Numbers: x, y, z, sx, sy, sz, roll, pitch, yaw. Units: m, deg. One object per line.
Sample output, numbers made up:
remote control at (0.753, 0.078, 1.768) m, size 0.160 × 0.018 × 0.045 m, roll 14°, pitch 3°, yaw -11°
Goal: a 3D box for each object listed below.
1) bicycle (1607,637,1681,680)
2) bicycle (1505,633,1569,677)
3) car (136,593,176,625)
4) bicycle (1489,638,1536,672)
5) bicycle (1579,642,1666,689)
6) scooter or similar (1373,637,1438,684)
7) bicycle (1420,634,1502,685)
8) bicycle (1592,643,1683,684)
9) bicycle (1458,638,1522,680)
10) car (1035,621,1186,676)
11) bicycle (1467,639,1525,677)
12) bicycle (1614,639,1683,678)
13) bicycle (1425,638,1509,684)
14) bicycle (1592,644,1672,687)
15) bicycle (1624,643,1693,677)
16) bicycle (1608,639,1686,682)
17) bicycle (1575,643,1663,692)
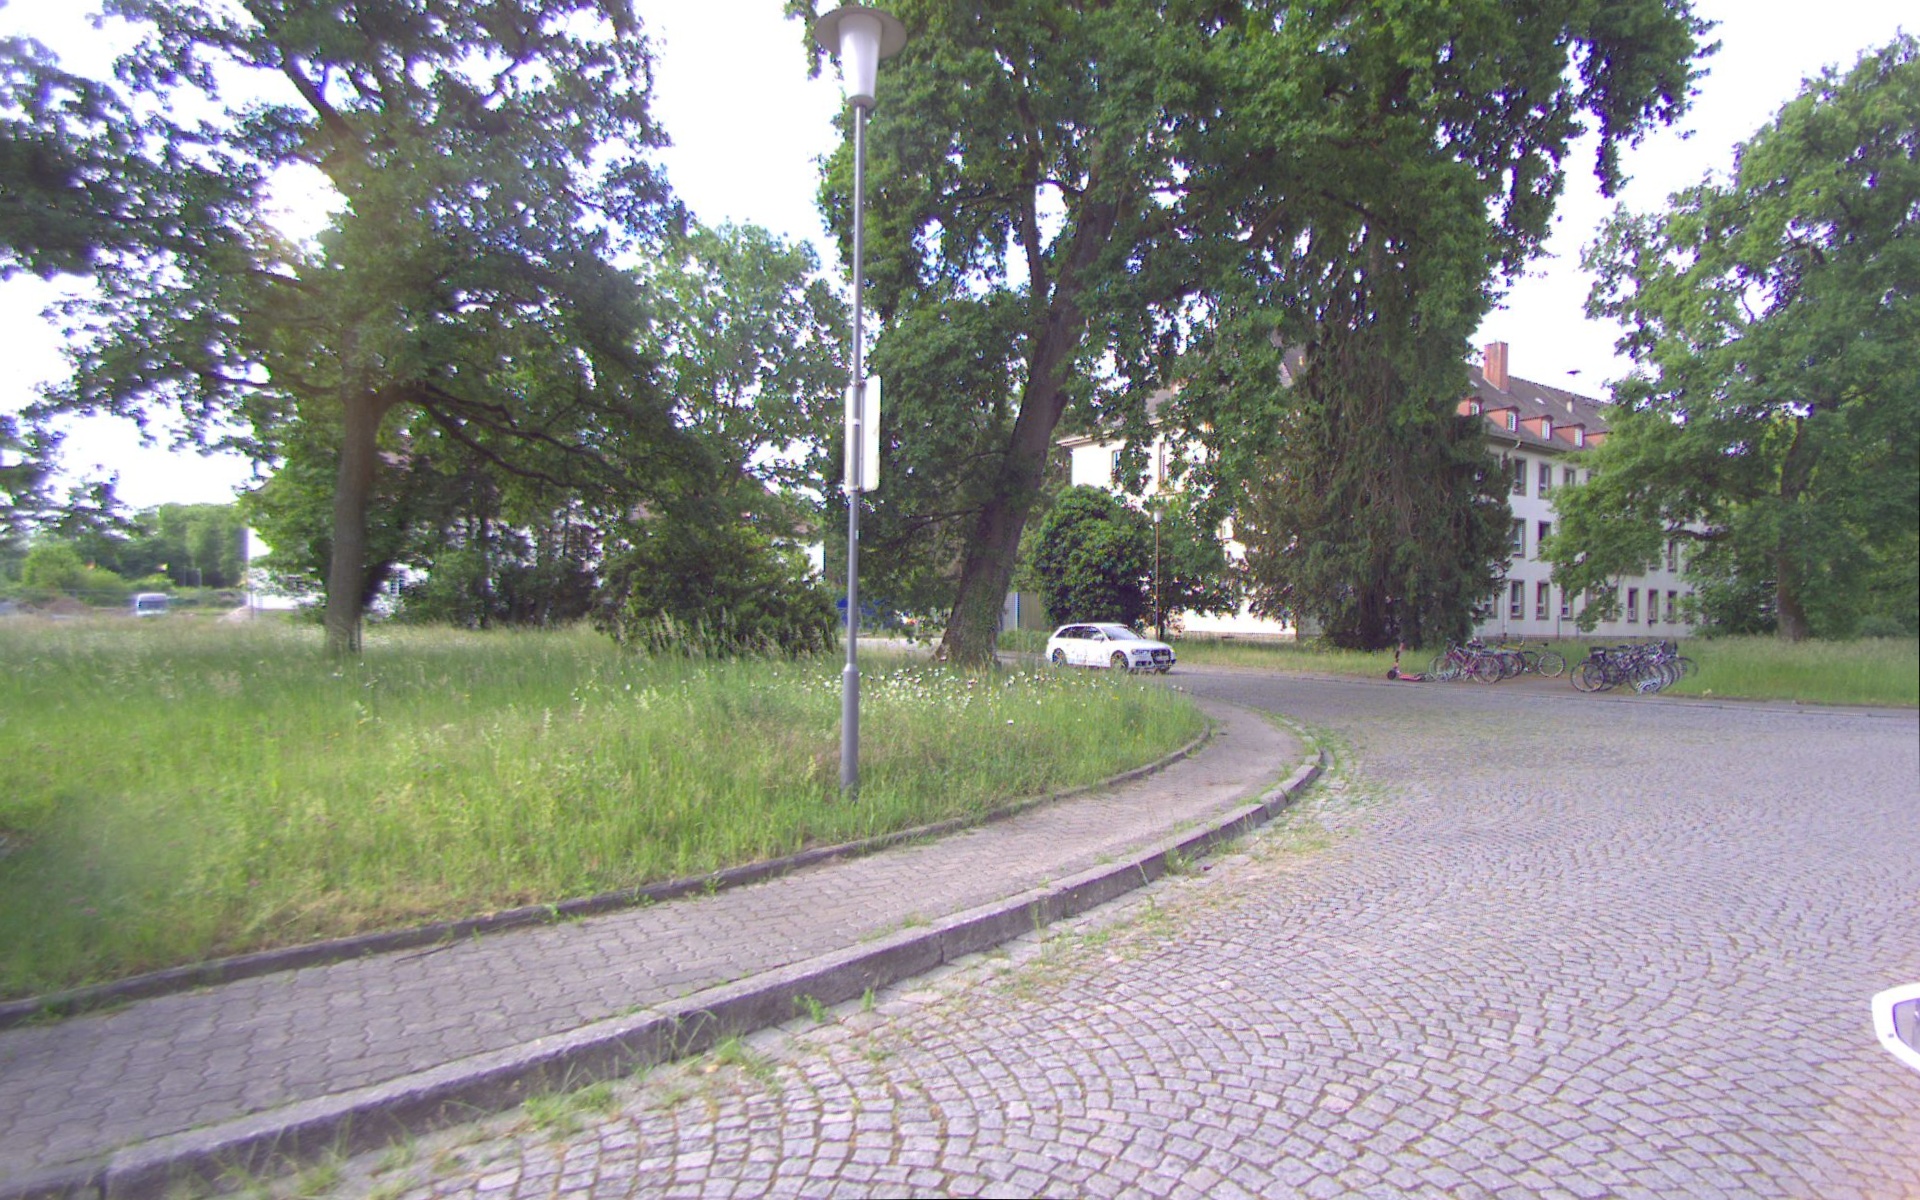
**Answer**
bicycle at (19.277, 1.632, 28.319) m, size 1.675 × 1.131 × 0.539 m, roll -1°, pitch 0°, yaw 38°
bicycle at (17.025, 1.613, 29.660) m, size 1.615 × 1.201 × 0.573 m, roll 0°, pitch 1°, yaw 32°
car at (-59.427, 0.639, 74.265) m, size 2.019 × 2.040 × 4.186 m, roll 2°, pitch 1°, yaw -36°
bicycle at (17.407, 1.727, 31.654) m, size 1.243 × 1.042 × 0.432 m, roll -1°, pitch -4°, yaw 38°
bicycle at (16.681, 1.628, 25.297) m, size 1.771 × 1.118 × 0.699 m, roll -1°, pitch 0°, yaw 38°
scooter or similar at (12.087, 1.619, 27.283) m, size 0.674 × 1.211 × 1.541 m, roll 0°, pitch -1°, yaw -29°
bicycle at (13.358, 1.569, 26.803) m, size 1.872 × 1.239 × 0.641 m, roll 1°, pitch 2°, yaw 38°
bicycle at (17.781, 1.650, 26.396) m, size 1.929 × 1.018 × 0.683 m, roll -1°, pitch 0°, yaw 38°
bicycle at (14.997, 1.658, 28.453) m, size 1.600 × 1.088 × 0.539 m, roll 0°, pitch 1°, yaw 27°
car at (4.413, 1.391, 30.165) m, size 1.835 × 1.456 × 4.662 m, roll 2°, pitch -1°, yaw -34°
bicycle at (15.824, 1.696, 29.688) m, size 1.488 × 1.049 × 0.544 m, roll 0°, pitch 1°, yaw 27°
bicycle at (19.670, 1.654, 28.710) m, size 1.596 × 1.073 × 0.524 m, roll -1°, pitch 0°, yaw 38°
bicycle at (13.777, 1.629, 27.336) m, size 1.960 × 1.129 × 0.641 m, roll 1°, pitch 1°, yaw 38°
bicycle at (17.234, 1.660, 25.784) m, size 1.670 × 1.015 × 0.629 m, roll -1°, pitch 0°, yaw 38°
bicycle at (20.168, 1.712, 29.004) m, size 1.596 × 0.923 × 0.524 m, roll -1°, pitch 0°, yaw 38°
bicycle at (19.020, 1.650, 27.819) m, size 1.749 × 1.120 × 0.539 m, roll -1°, pitch 0°, yaw 38°
bicycle at (16.219, 1.641, 24.737) m, size 1.746 × 1.118 × 0.699 m, roll -1°, pitch 0°, yaw 38°
